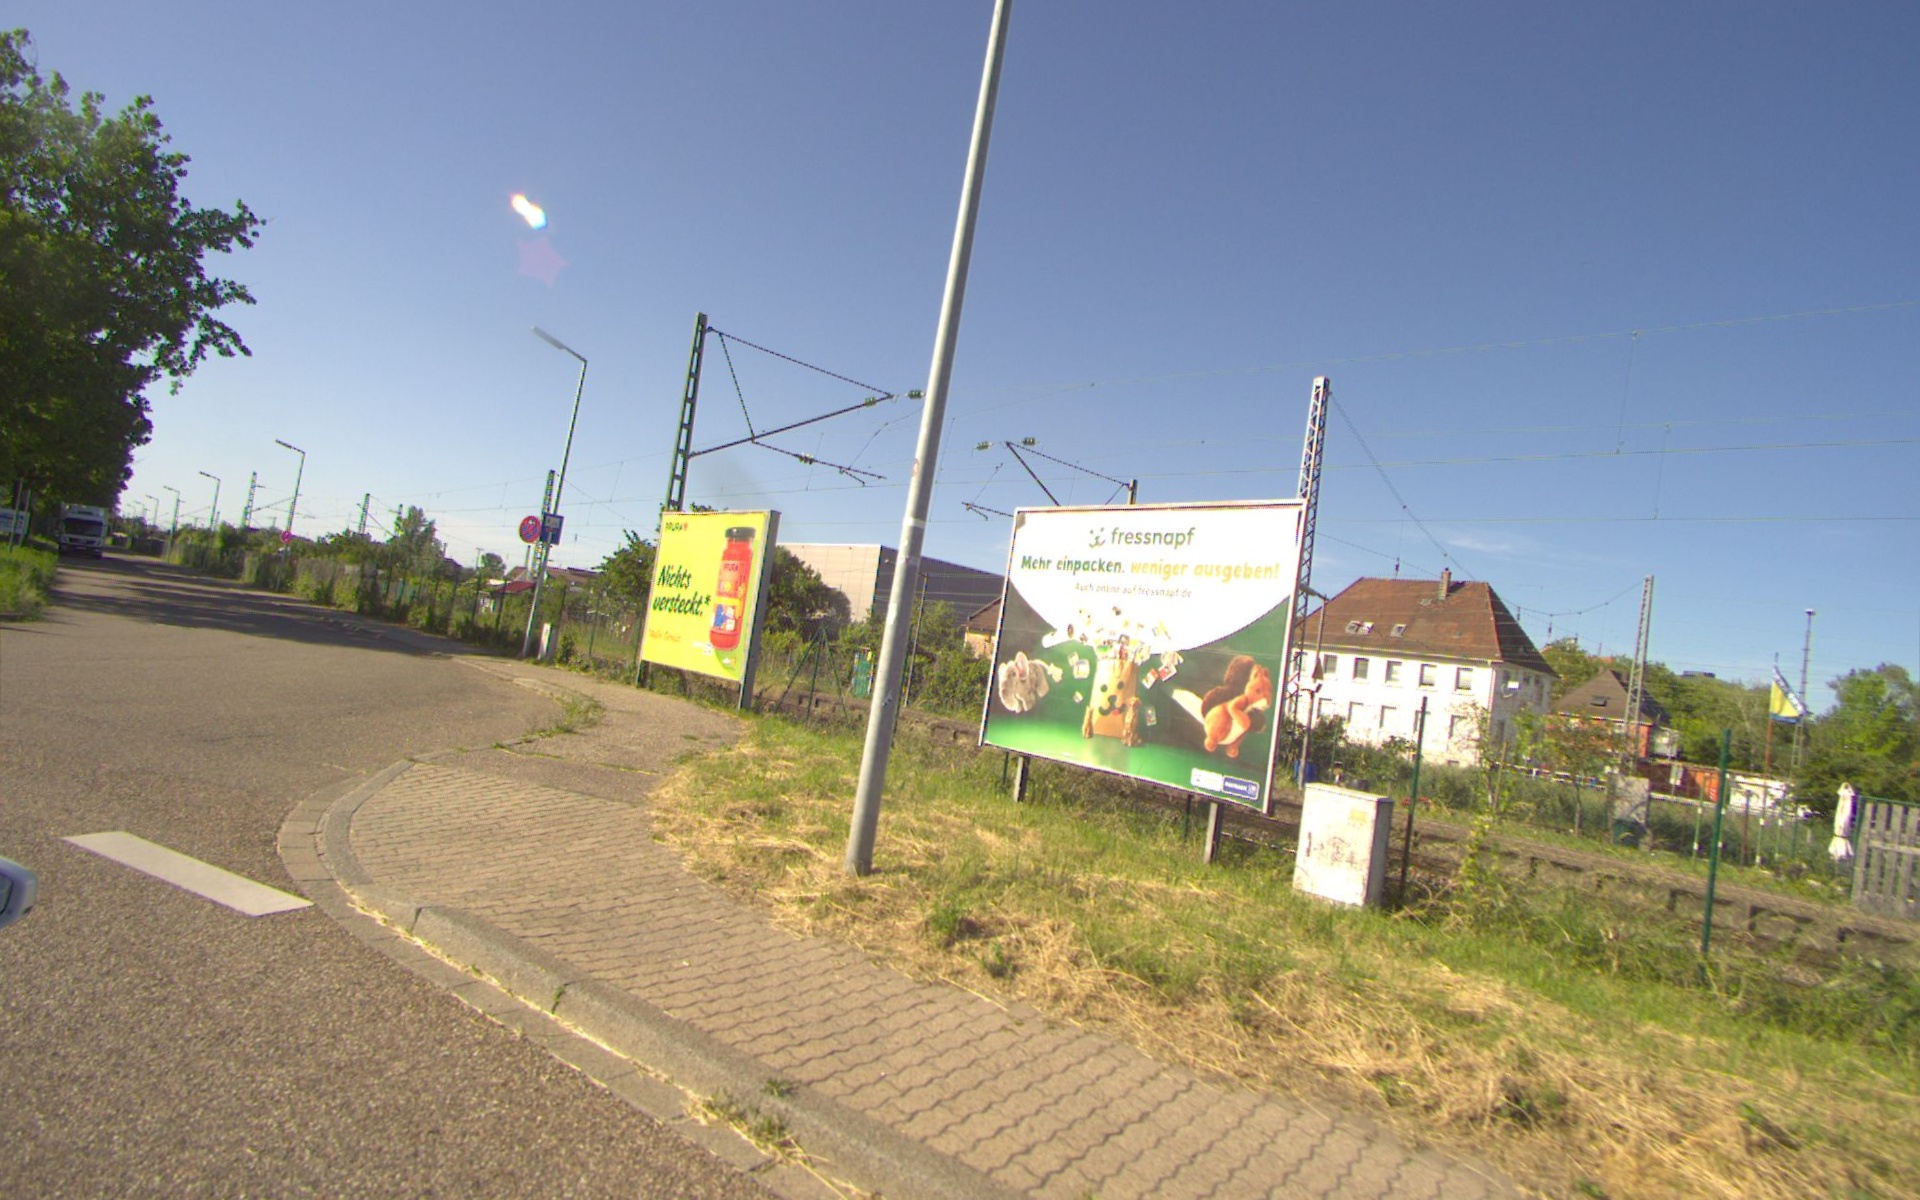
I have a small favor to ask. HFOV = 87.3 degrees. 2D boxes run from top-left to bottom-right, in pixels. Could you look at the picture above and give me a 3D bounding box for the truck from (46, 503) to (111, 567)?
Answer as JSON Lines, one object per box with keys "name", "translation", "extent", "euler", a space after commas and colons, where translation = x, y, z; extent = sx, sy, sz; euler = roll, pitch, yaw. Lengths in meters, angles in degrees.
{"name": "truck", "translation": [-65.186, -4.786, 74.270], "extent": [2.609, 3.925, 13.368], "euler": [12, -5, -43]}
